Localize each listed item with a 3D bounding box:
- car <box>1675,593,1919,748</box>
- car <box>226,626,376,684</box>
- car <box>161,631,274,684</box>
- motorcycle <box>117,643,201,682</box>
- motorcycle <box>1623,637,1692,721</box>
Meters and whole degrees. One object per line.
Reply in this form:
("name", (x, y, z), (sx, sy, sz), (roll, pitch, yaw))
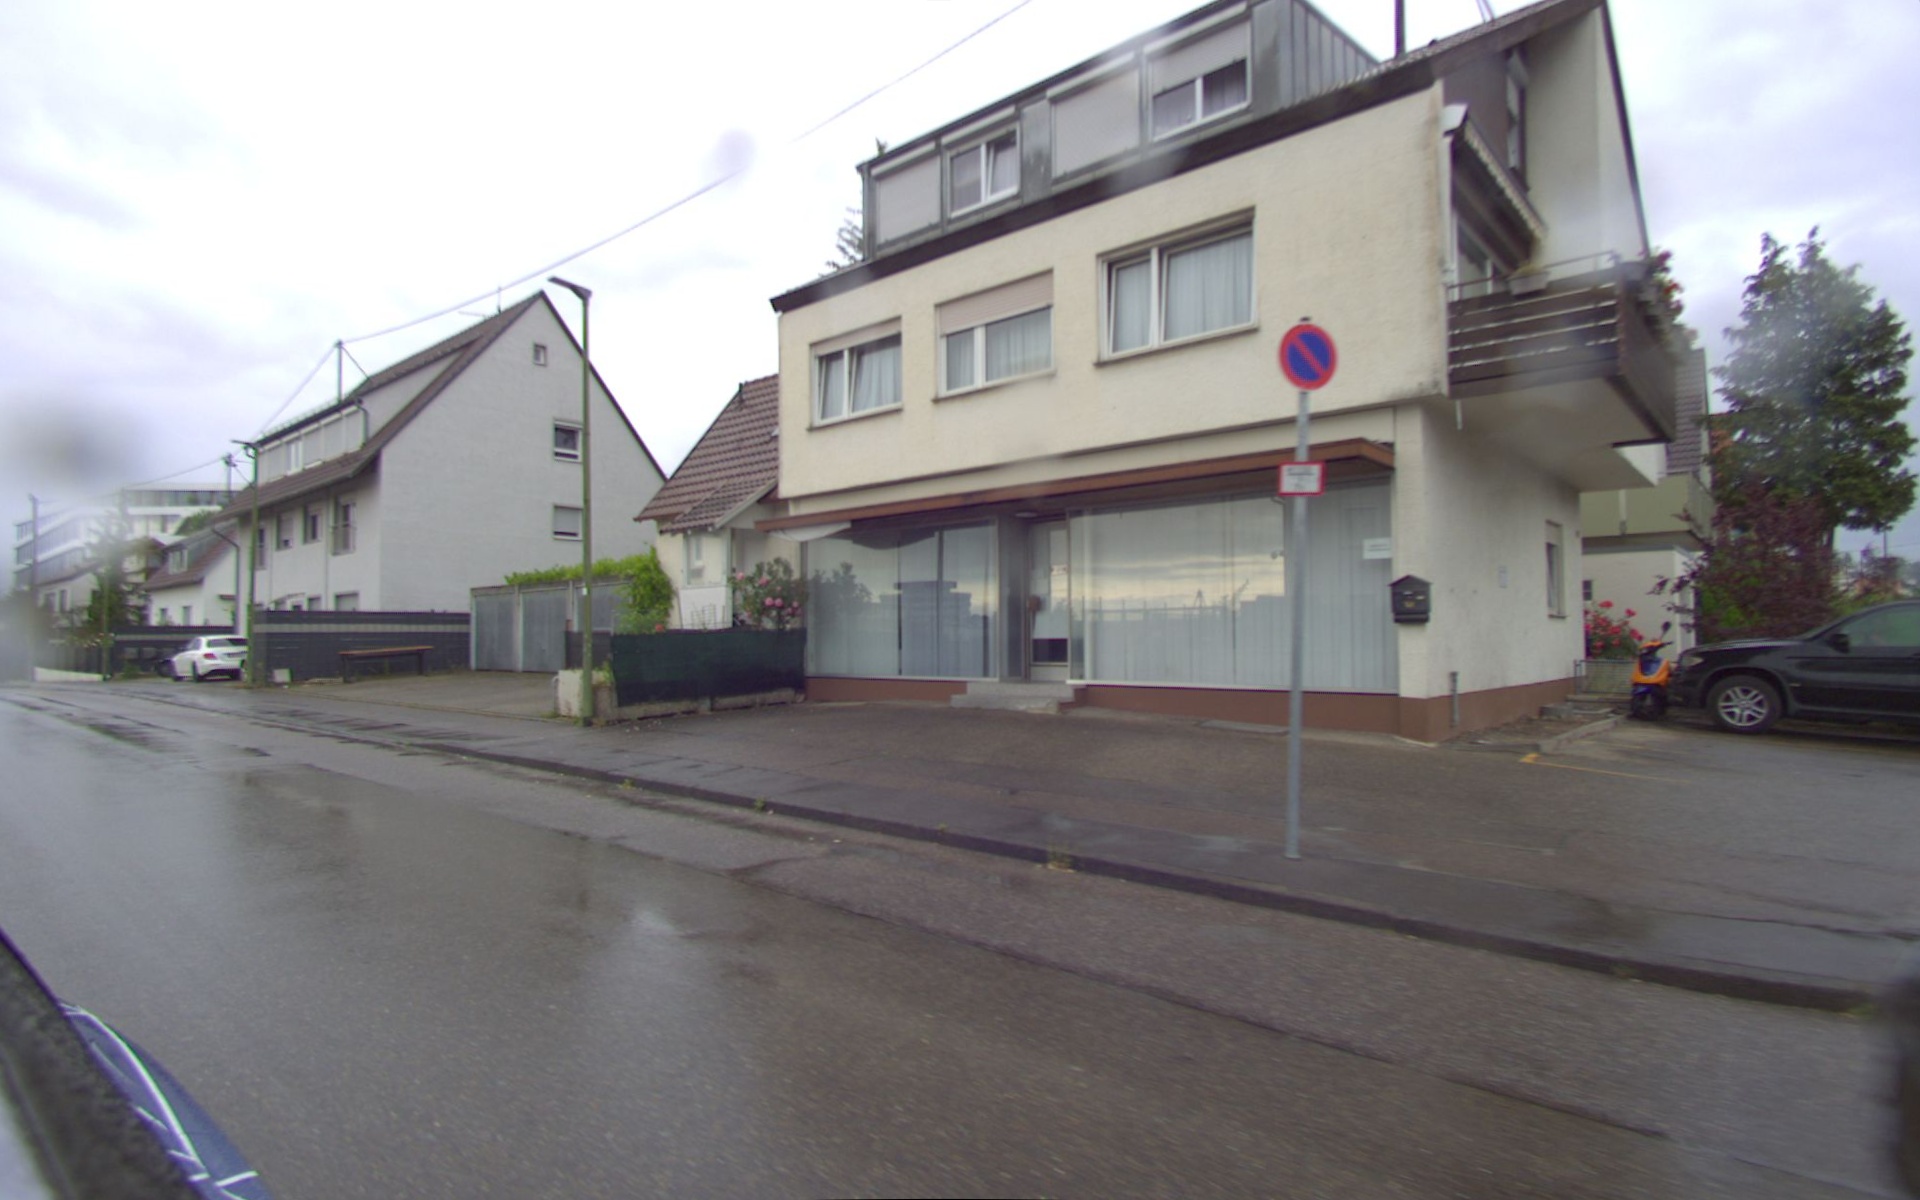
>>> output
("car", (11.212, 0.812, 11.795), (4.543, 1.671, 1.840), (2, 0, 41))
("car", (-18.619, 1.566, 28.543), (4.555, 1.379, 1.813), (-4, -1, 33))
("car", (-24.471, 1.900, 33.295), (4.893, 1.521, 1.973), (-4, -1, 41))
("motorcycle", (-29.878, 2.312, 37.786), (0.736, 1.283, 2.337), (-4, -1, 41))
("motorcycle", (9.687, 1.079, 14.028), (0.613, 1.090, 1.816), (-1, -4, 40))
